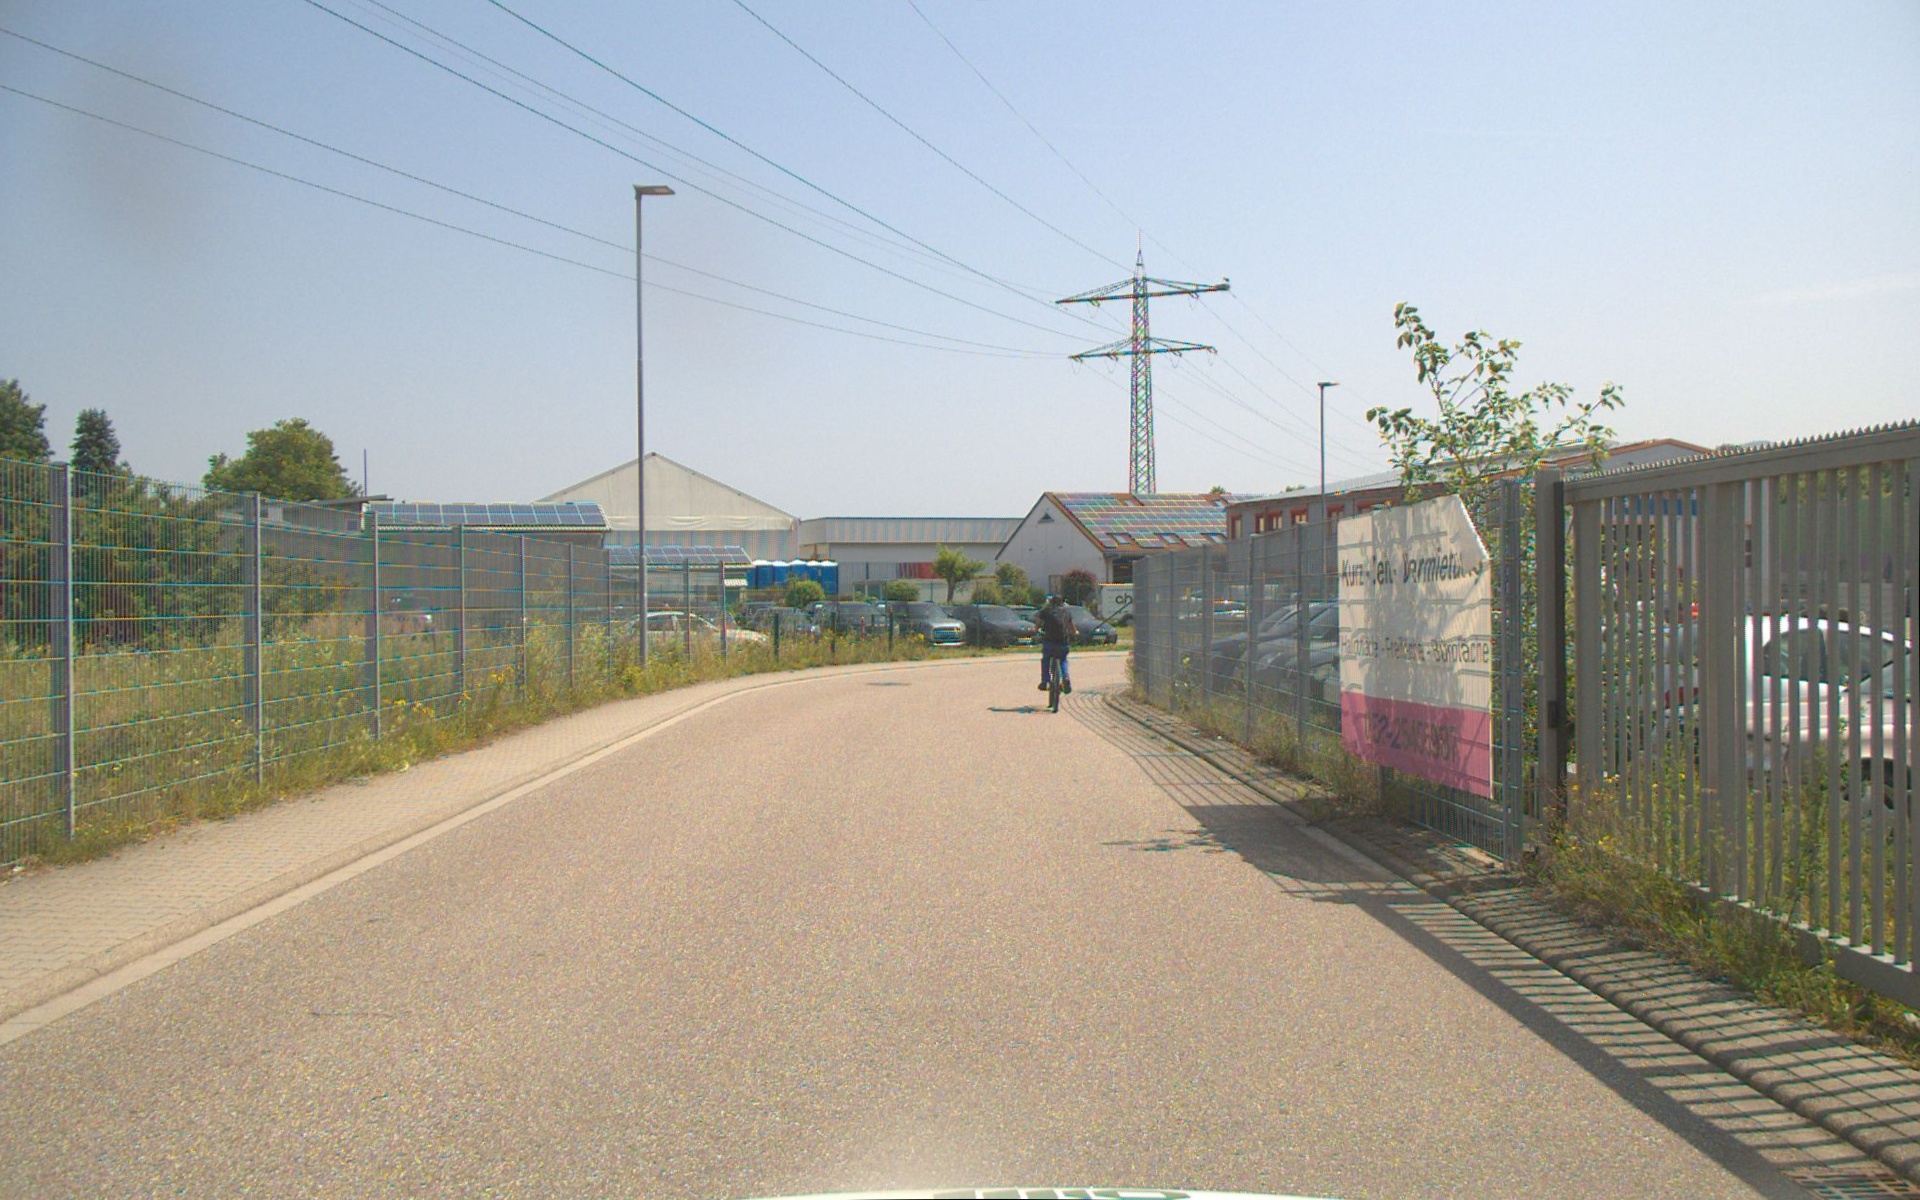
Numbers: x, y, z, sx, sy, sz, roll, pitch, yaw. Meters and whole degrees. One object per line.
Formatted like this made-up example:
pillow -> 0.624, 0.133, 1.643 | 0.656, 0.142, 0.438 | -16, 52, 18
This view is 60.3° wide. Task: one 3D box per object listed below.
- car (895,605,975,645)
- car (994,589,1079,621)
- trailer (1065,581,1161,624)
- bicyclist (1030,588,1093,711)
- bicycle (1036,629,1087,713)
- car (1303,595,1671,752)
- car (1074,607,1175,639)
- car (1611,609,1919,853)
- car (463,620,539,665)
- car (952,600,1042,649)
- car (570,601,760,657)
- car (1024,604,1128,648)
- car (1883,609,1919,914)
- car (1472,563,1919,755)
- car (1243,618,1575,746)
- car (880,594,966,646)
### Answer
car -> -0.991, 0.919, 62.673 | 1.963, 1.445, 3.980 | -1, 0, -18
car -> 3.906, 0.249, 84.366 | 3.926, 1.626, 1.867 | 0, 0, -19
trailer -> 7.344, 0.123, 79.499 | 4.361, 1.979, 1.712 | -1, 0, -6
bicyclist -> 1.402, 0.669, 22.989 | 0.825, 1.647, 1.039 | 1, 0, 2
bicycle -> 1.401, 0.963, 23.063 | 0.670, 1.070, 1.901 | 1, 0, 2
car -> 5.732, 0.776, 18.241 | 3.454, 1.413, 1.635 | 4, 0, -4
car -> 6.867, 0.944, 69.032 | 4.070, 1.283, 1.227 | -1, 0, -22
car -> 6.240, 0.752, 10.426 | 3.589, 1.377, 1.739 | 0, 0, -3
car -> -15.648, 1.422, 56.321 | 1.841, 1.439, 3.410 | 0, 0, -27
car -> 1.218, 0.814, 56.119 | 1.835, 1.581, 3.748 | 0, 0, -20
car -> -7.422, 0.707, 41.590 | 4.480, 1.330, 1.858 | 0, 0, -20
car -> 4.015, 0.883, 58.130 | 1.966, 1.460, 4.637 | 0, 0, -20
car -> 6.830, 0.880, 7.806 | 4.082, 1.500, 1.636 | 2, 0, -5
car -> 5.797, 0.420, 12.767 | 3.204, 1.378, 1.526 | 0, 0, -5
car -> 5.512, 0.993, 20.538 | 3.580, 1.503, 1.748 | 0, -2, -9
car -> -1.277, 0.656, 55.684 | 1.835, 1.672, 3.612 | 0, 0, -20
